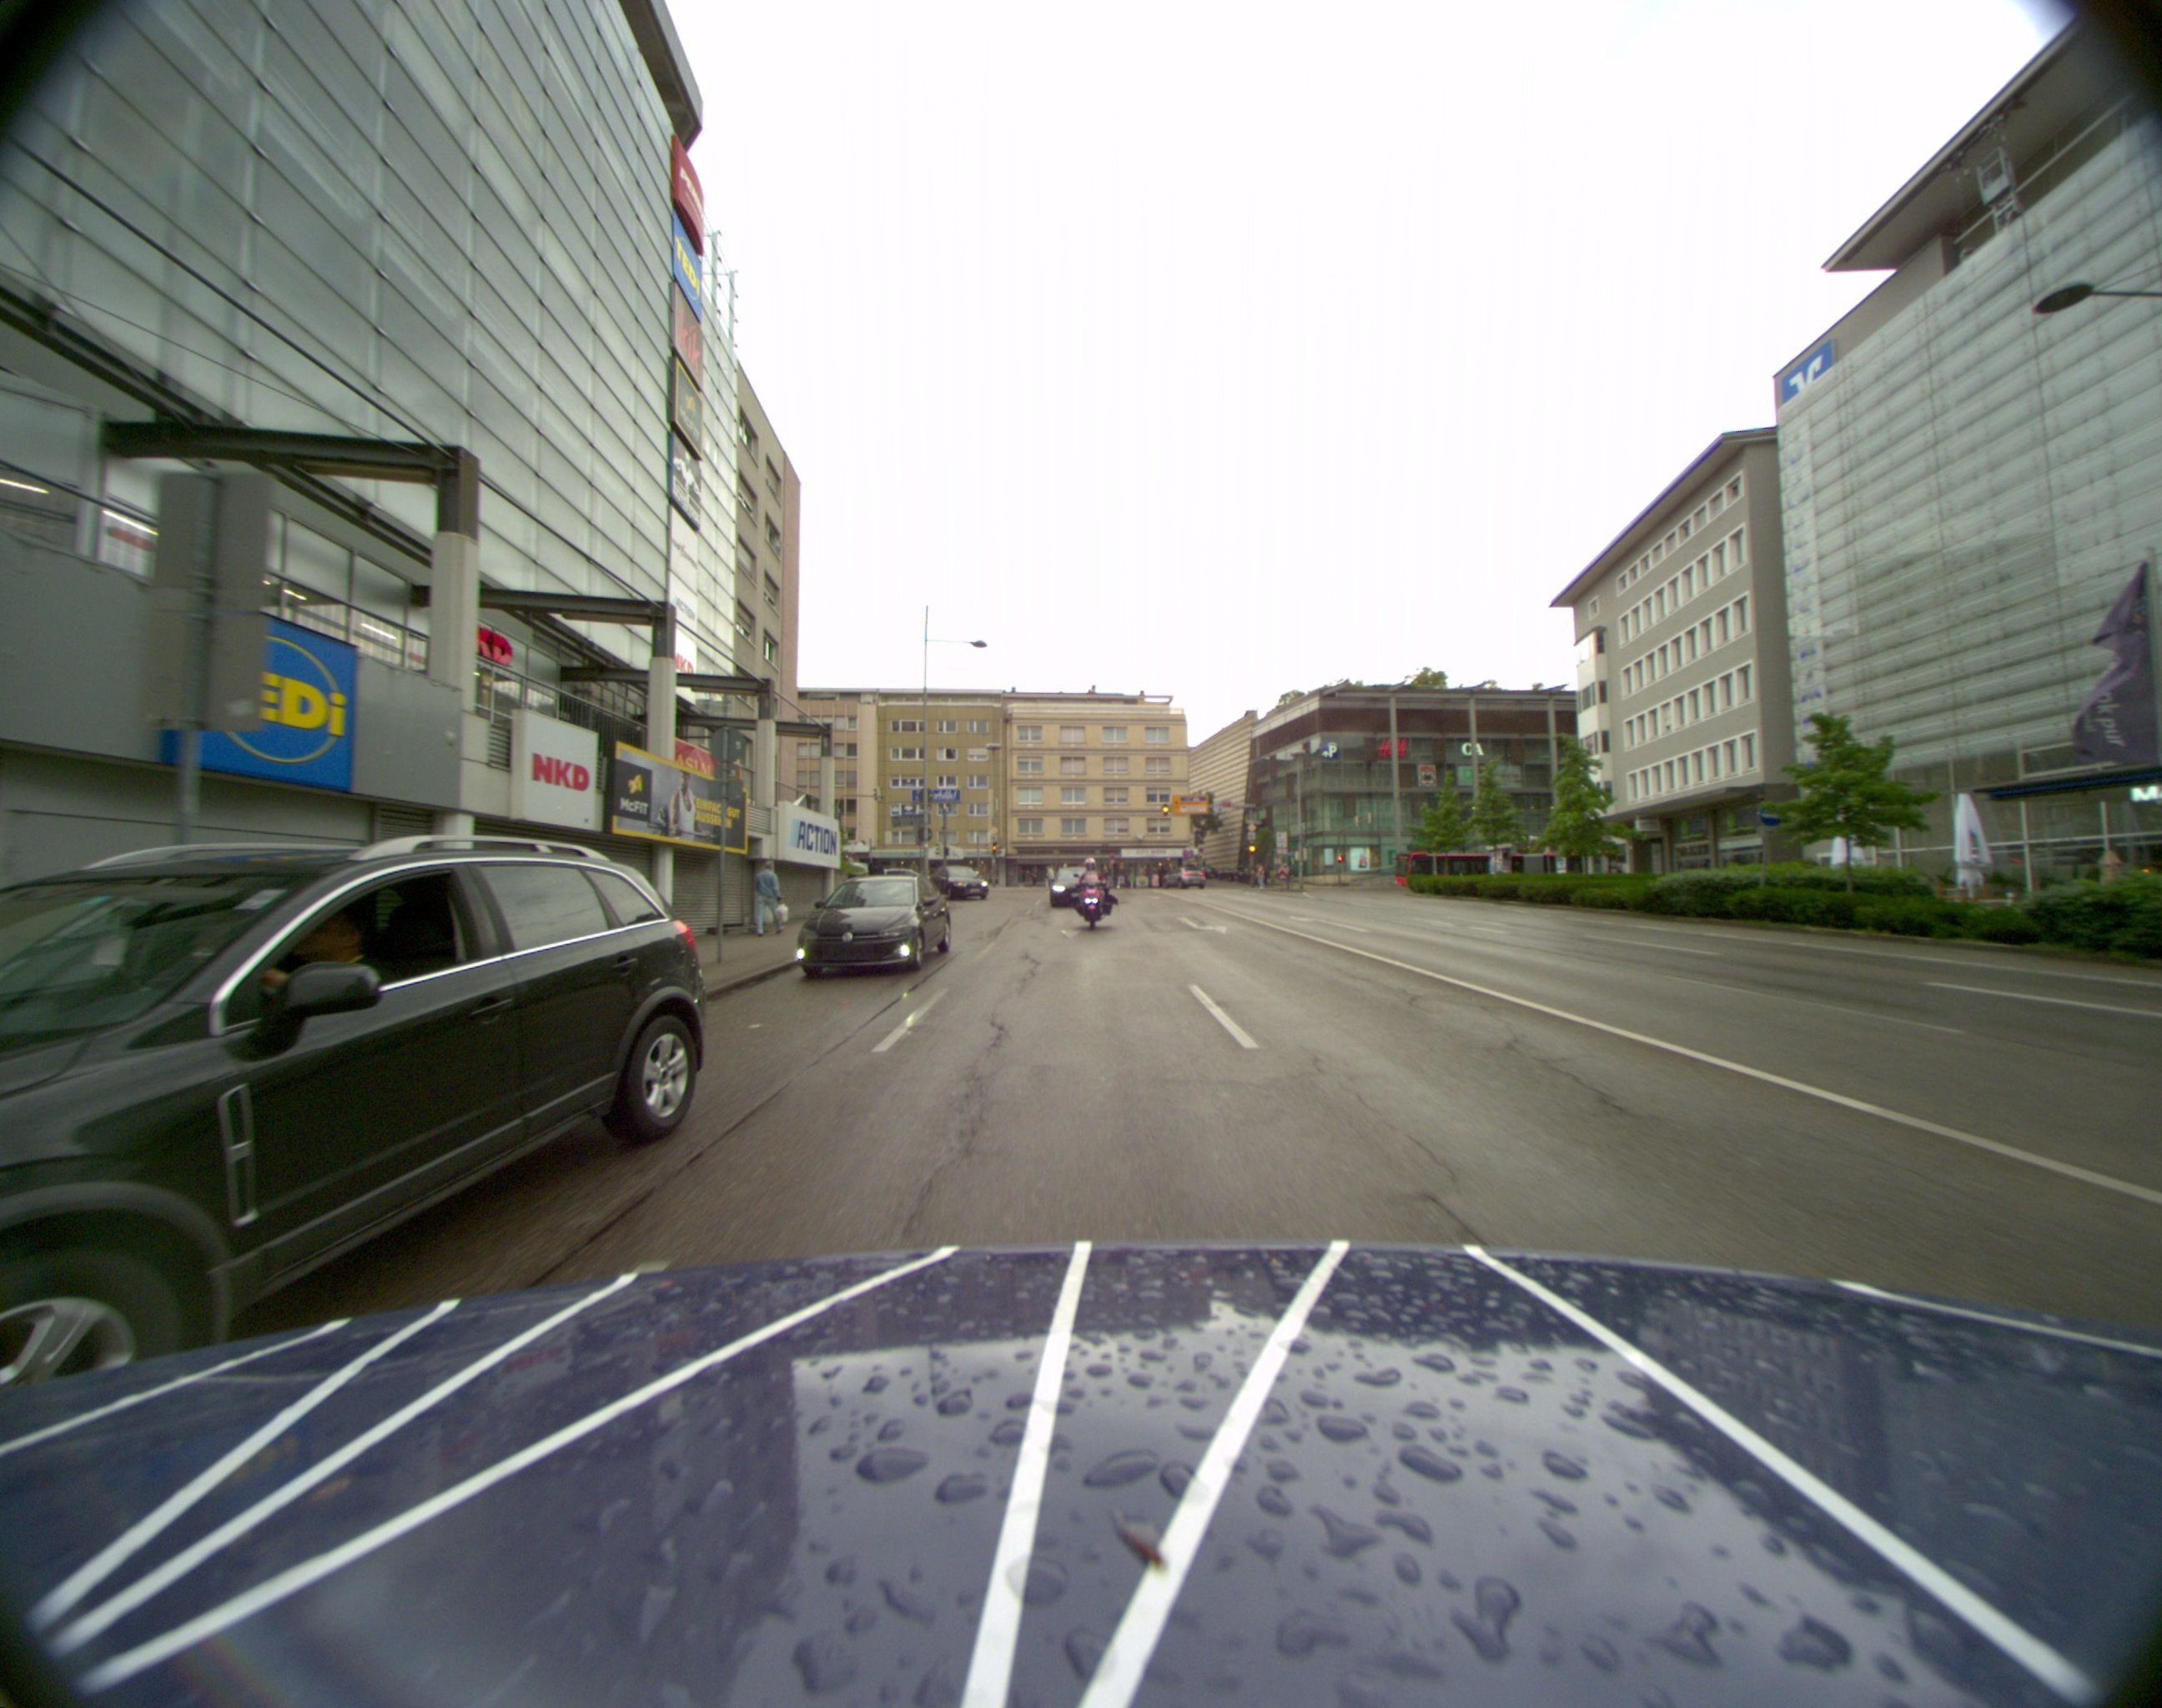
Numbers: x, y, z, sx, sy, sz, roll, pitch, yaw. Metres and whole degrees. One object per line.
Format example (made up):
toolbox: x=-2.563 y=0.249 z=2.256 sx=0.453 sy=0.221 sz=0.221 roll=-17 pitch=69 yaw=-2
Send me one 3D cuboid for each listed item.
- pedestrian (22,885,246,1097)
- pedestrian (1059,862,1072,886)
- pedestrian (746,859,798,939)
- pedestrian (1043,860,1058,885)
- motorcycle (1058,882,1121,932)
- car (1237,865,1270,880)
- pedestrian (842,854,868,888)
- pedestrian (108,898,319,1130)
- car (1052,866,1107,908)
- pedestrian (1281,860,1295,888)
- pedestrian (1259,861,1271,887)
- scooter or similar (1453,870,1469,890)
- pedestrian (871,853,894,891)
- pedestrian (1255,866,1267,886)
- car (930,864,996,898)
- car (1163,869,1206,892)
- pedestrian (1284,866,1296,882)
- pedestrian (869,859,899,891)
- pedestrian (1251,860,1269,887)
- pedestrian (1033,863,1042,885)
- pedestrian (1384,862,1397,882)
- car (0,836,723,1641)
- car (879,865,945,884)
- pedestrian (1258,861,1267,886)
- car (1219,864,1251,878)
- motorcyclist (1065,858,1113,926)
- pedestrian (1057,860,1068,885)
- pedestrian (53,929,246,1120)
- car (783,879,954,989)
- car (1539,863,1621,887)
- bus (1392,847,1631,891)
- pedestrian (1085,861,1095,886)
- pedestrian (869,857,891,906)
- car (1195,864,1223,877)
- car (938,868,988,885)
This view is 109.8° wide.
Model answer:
pedestrian: x=-7.006 y=0.968 z=5.663 sx=0.774 sy=1.458 sz=0.704 roll=0 pitch=-1 yaw=1
pedestrian: x=-1.021 y=1.326 z=50.497 sx=0.854 sy=1.559 sz=0.715 roll=1 pitch=-1 yaw=0
pedestrian: x=-6.748 y=0.971 z=16.602 sx=0.837 sy=1.712 sz=0.618 roll=0 pitch=-1 yaw=7
pedestrian: x=-2.051 y=1.279 z=51.505 sx=0.914 sy=1.662 sz=0.981 roll=0 pitch=-1 yaw=1
motorcycle: x=0.162 y=1.252 z=18.475 sx=1.313 sy=1.128 sz=2.185 roll=1 pitch=-2 yaw=-5
car: x=18.636 y=1.969 z=82.262 sx=1.806 sy=1.537 sz=4.292 roll=0 pitch=0 yaw=-14
pedestrian: x=-11.723 y=0.911 z=39.509 sx=0.837 sy=1.711 sz=1.040 roll=0 pitch=-4 yaw=12
pedestrian: x=-5.876 y=1.039 z=5.177 sx=0.747 sy=1.429 sz=0.597 roll=2 pitch=0 yaw=7
car: x=-0.112 y=1.295 z=29.907 sx=1.999 sy=1.482 sz=4.736 roll=1 pitch=-2 yaw=-1
pedestrian: x=13.252 y=1.301 z=48.650 sx=0.617 sy=1.768 sz=0.831 roll=0 pitch=-1 yaw=-10
pedestrian: x=12.038 y=1.302 z=49.662 sx=0.638 sy=1.679 sz=0.784 roll=0 pitch=-1 yaw=4
scooter or similar: x=21.932 y=1.511 z=43.873 sx=0.543 sy=1.179 sz=1.386 roll=0 pitch=-3 yaw=15
pedestrian: x=-10.277 y=0.921 z=39.325 sx=0.785 sy=1.855 sz=0.619 roll=4 pitch=-5 yaw=12
pedestrian: x=12.029 y=1.490 z=50.895 sx=0.588 sy=1.331 sz=0.631 roll=0 pitch=-1 yaw=-10
car: x=-5.723 y=1.262 z=36.391 sx=1.875 sy=1.538 sz=4.095 roll=1 pitch=-1 yaw=-28
car: x=7.254 y=1.843 z=53.740 sx=1.847 sy=1.542 sz=4.091 roll=2 pitch=-1 yaw=-9
pedestrian: x=21.926 y=2.107 z=79.683 sx=0.696 sy=1.751 sz=1.048 roll=1 pitch=-2 yaw=-16
pedestrian: x=-9.794 y=1.044 z=37.776 sx=1.061 sy=1.522 sz=1.024 roll=4 pitch=-2 yaw=-36
pedestrian: x=12.319 y=1.337 z=52.298 sx=0.853 sy=1.777 sz=1.012 roll=0 pitch=-1 yaw=-11
pedestrian: x=-2.906 y=1.349 z=50.914 sx=0.560 sy=1.479 sz=0.707 roll=2 pitch=-1 yaw=0
pedestrian: x=31.103 y=1.787 z=76.363 sx=0.974 sy=1.968 sz=0.883 roll=1 pitch=-1 yaw=-5
car: x=-3.373 y=0.904 z=2.796 sx=1.912 sy=1.775 sz=4.302 roll=-4 pitch=0 yaw=1
car: x=-12.777 y=1.579 z=57.644 sx=4.630 sy=1.407 sz=1.798 roll=0 pitch=-2 yaw=-5
pedestrian: x=12.014 y=1.319 z=50.330 sx=0.501 sy=1.658 sz=0.571 roll=0 pitch=-1 yaw=2
car: x=17.717 y=1.970 z=87.759 sx=1.899 sy=1.537 sz=4.376 roll=-2 pitch=0 yaw=-14
motorcyclist: x=0.186 y=0.905 z=18.446 sx=1.093 sy=1.595 sz=0.953 roll=0 pitch=-1 yaw=-5
pedestrian: x=-1.304 y=1.308 z=53.176 sx=0.706 sy=1.701 sz=0.786 roll=1 pitch=-1 yaw=0
pedestrian: x=-6.475 y=1.149 z=5.306 sx=0.692 sy=1.200 sz=0.554 roll=0 pitch=-1 yaw=7
car: x=-3.256 y=1.165 z=12.435 sx=1.742 sy=1.422 sz=3.880 roll=-3 pitch=-1 yaw=-1
car: x=44.788 y=1.863 z=68.268 sx=5.907 sy=2.063 sz=2.451 roll=0 pitch=-1 yaw=-6
bus: x=35.369 y=1.274 z=62.703 sx=18.469 sy=3.300 sz=2.930 roll=1 pitch=-1 yaw=-3
pedestrian: x=0.624 y=1.374 z=52.591 sx=0.693 sy=1.681 sz=0.759 roll=2 pitch=-1 yaw=0
pedestrian: x=-7.601 y=1.030 z=28.699 sx=0.601 sy=1.829 sz=1.012 roll=0 pitch=-1 yaw=-4
car: x=15.919 y=1.994 z=94.778 sx=1.899 sy=1.537 sz=4.376 roll=-2 pitch=0 yaw=-14
car: x=-10.775 y=2.059 z=69.578 sx=4.399 sy=1.541 sz=1.853 roll=0 pitch=0 yaw=-5
